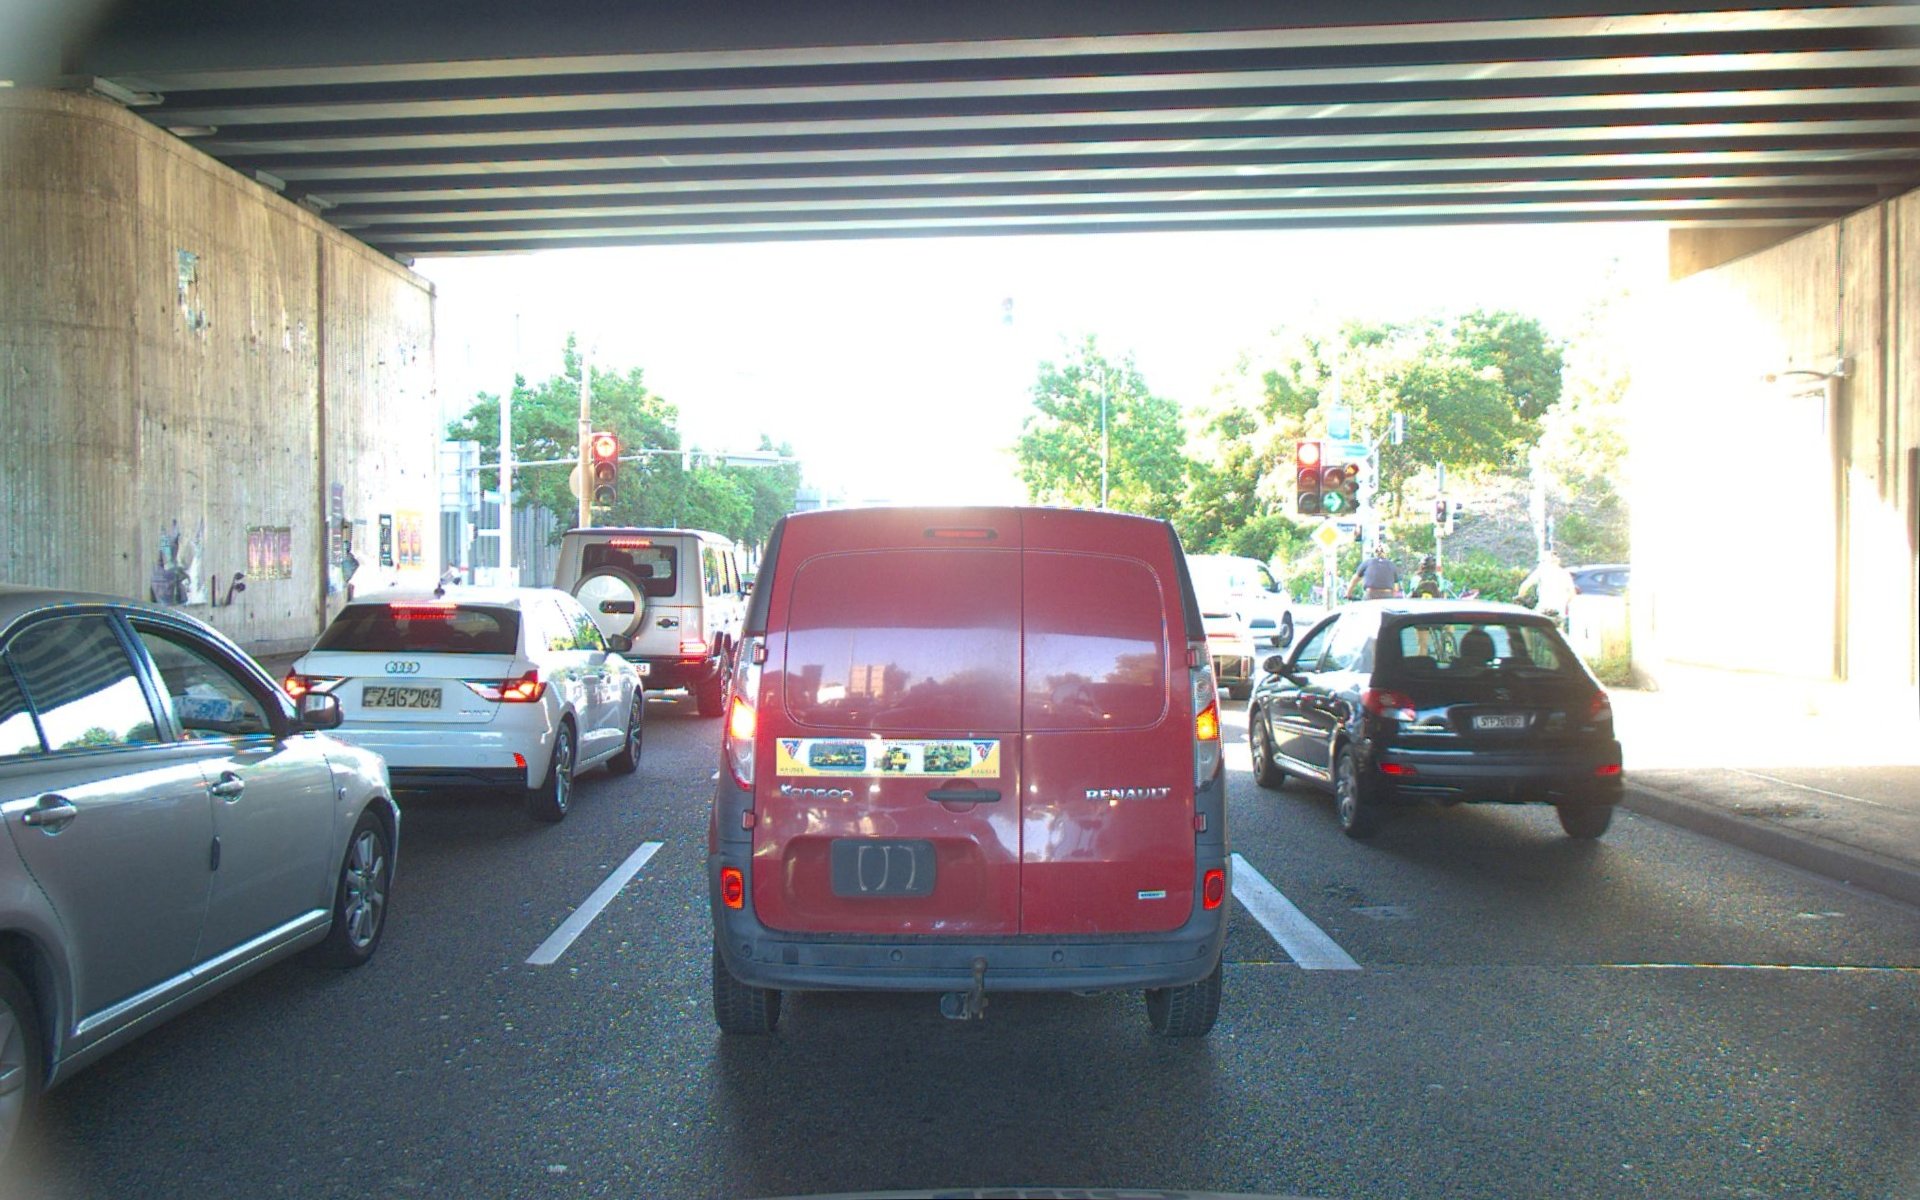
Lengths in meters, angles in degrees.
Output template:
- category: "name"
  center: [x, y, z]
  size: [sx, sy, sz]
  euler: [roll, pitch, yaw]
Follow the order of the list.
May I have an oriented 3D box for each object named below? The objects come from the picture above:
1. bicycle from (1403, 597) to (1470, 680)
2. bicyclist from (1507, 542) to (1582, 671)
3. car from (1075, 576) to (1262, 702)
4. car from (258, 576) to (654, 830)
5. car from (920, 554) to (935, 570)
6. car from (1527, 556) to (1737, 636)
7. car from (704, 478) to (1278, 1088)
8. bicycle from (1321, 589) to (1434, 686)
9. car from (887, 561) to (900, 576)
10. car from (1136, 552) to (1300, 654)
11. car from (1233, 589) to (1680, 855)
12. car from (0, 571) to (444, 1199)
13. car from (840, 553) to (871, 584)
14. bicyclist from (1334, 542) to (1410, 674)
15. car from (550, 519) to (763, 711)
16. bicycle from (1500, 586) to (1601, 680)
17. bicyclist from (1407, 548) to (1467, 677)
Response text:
- category: "bicycle"
  center: [6.279, 0.489, 21.855]
  size: [0.662, 1.042, 1.530]
  euler: [1, 0, 10]
- category: "bicyclist"
  center: [7.382, 0.080, 20.910]
  size: [0.656, 1.589, 0.735]
  euler: [0, 0, -2]
- category: "car"
  center: [2.661, 0.456, 22.153]
  size: [1.711, 1.481, 4.662]
  euler: [1, 0, -3]
- category: "car"
  center: [-3.239, 0.582, 11.389]
  size: [1.658, 1.435, 3.812]
  euler: [1, 0, -2]
- category: "car"
  center: [-4.267, -5.047, 220.633]
  size: [1.953, 2.049, 3.999]
  euler: [1, 0, -1]
- category: "car"
  center: [15.097, -0.115, 37.281]
  size: [4.013, 1.650, 1.810]
  euler: [-2, 2, -4]
- category: "car"
  center: [0.067, 0.537, 6.930]
  size: [1.684, 1.795, 3.999]
  euler: [1, 0, -1]
- category: "bicycle"
  center: [5.420, 0.468, 21.641]
  size: [0.750, 1.166, 2.468]
  euler: [-2, 0, -2]
- category: "car"
  center: [-9.396, -4.461, 233.861]
  size: [1.712, 2.049, 3.843]
  euler: [1, 0, -1]
- category: "car"
  center: [5.221, -0.014, 33.072]
  size: [1.780, 1.865, 4.292]
  euler: [1, 2, 30]
- category: "car"
  center: [3.117, 0.679, 11.195]
  size: [1.711, 1.481, 3.714]
  euler: [1, 0, -3]
- category: "car"
  center: [-3.001, 0.654, 4.874]
  size: [1.662, 1.480, 4.397]
  euler: [1, 0, -2]
- category: "car"
  center: [-7.294, -2.211, 116.134]
  size: [1.953, 2.049, 3.999]
  euler: [1, 0, -1]
- category: "bicyclist"
  center: [5.402, 0.101, 21.715]
  size: [0.731, 1.684, 0.886]
  euler: [1, 0, -2]
- category: "car"
  center: [-3.325, 0.144, 18.788]
  size: [1.777, 1.937, 3.812]
  euler: [1, 0, -2]
- category: "bicycle"
  center: [7.389, 0.402, 20.778]
  size: [0.667, 1.132, 1.603]
  euler: [0, 0, -1]
- category: "bicyclist"
  center: [6.279, 0.164, 21.796]
  size: [0.663, 1.657, 0.644]
  euler: [1, 0, 10]
